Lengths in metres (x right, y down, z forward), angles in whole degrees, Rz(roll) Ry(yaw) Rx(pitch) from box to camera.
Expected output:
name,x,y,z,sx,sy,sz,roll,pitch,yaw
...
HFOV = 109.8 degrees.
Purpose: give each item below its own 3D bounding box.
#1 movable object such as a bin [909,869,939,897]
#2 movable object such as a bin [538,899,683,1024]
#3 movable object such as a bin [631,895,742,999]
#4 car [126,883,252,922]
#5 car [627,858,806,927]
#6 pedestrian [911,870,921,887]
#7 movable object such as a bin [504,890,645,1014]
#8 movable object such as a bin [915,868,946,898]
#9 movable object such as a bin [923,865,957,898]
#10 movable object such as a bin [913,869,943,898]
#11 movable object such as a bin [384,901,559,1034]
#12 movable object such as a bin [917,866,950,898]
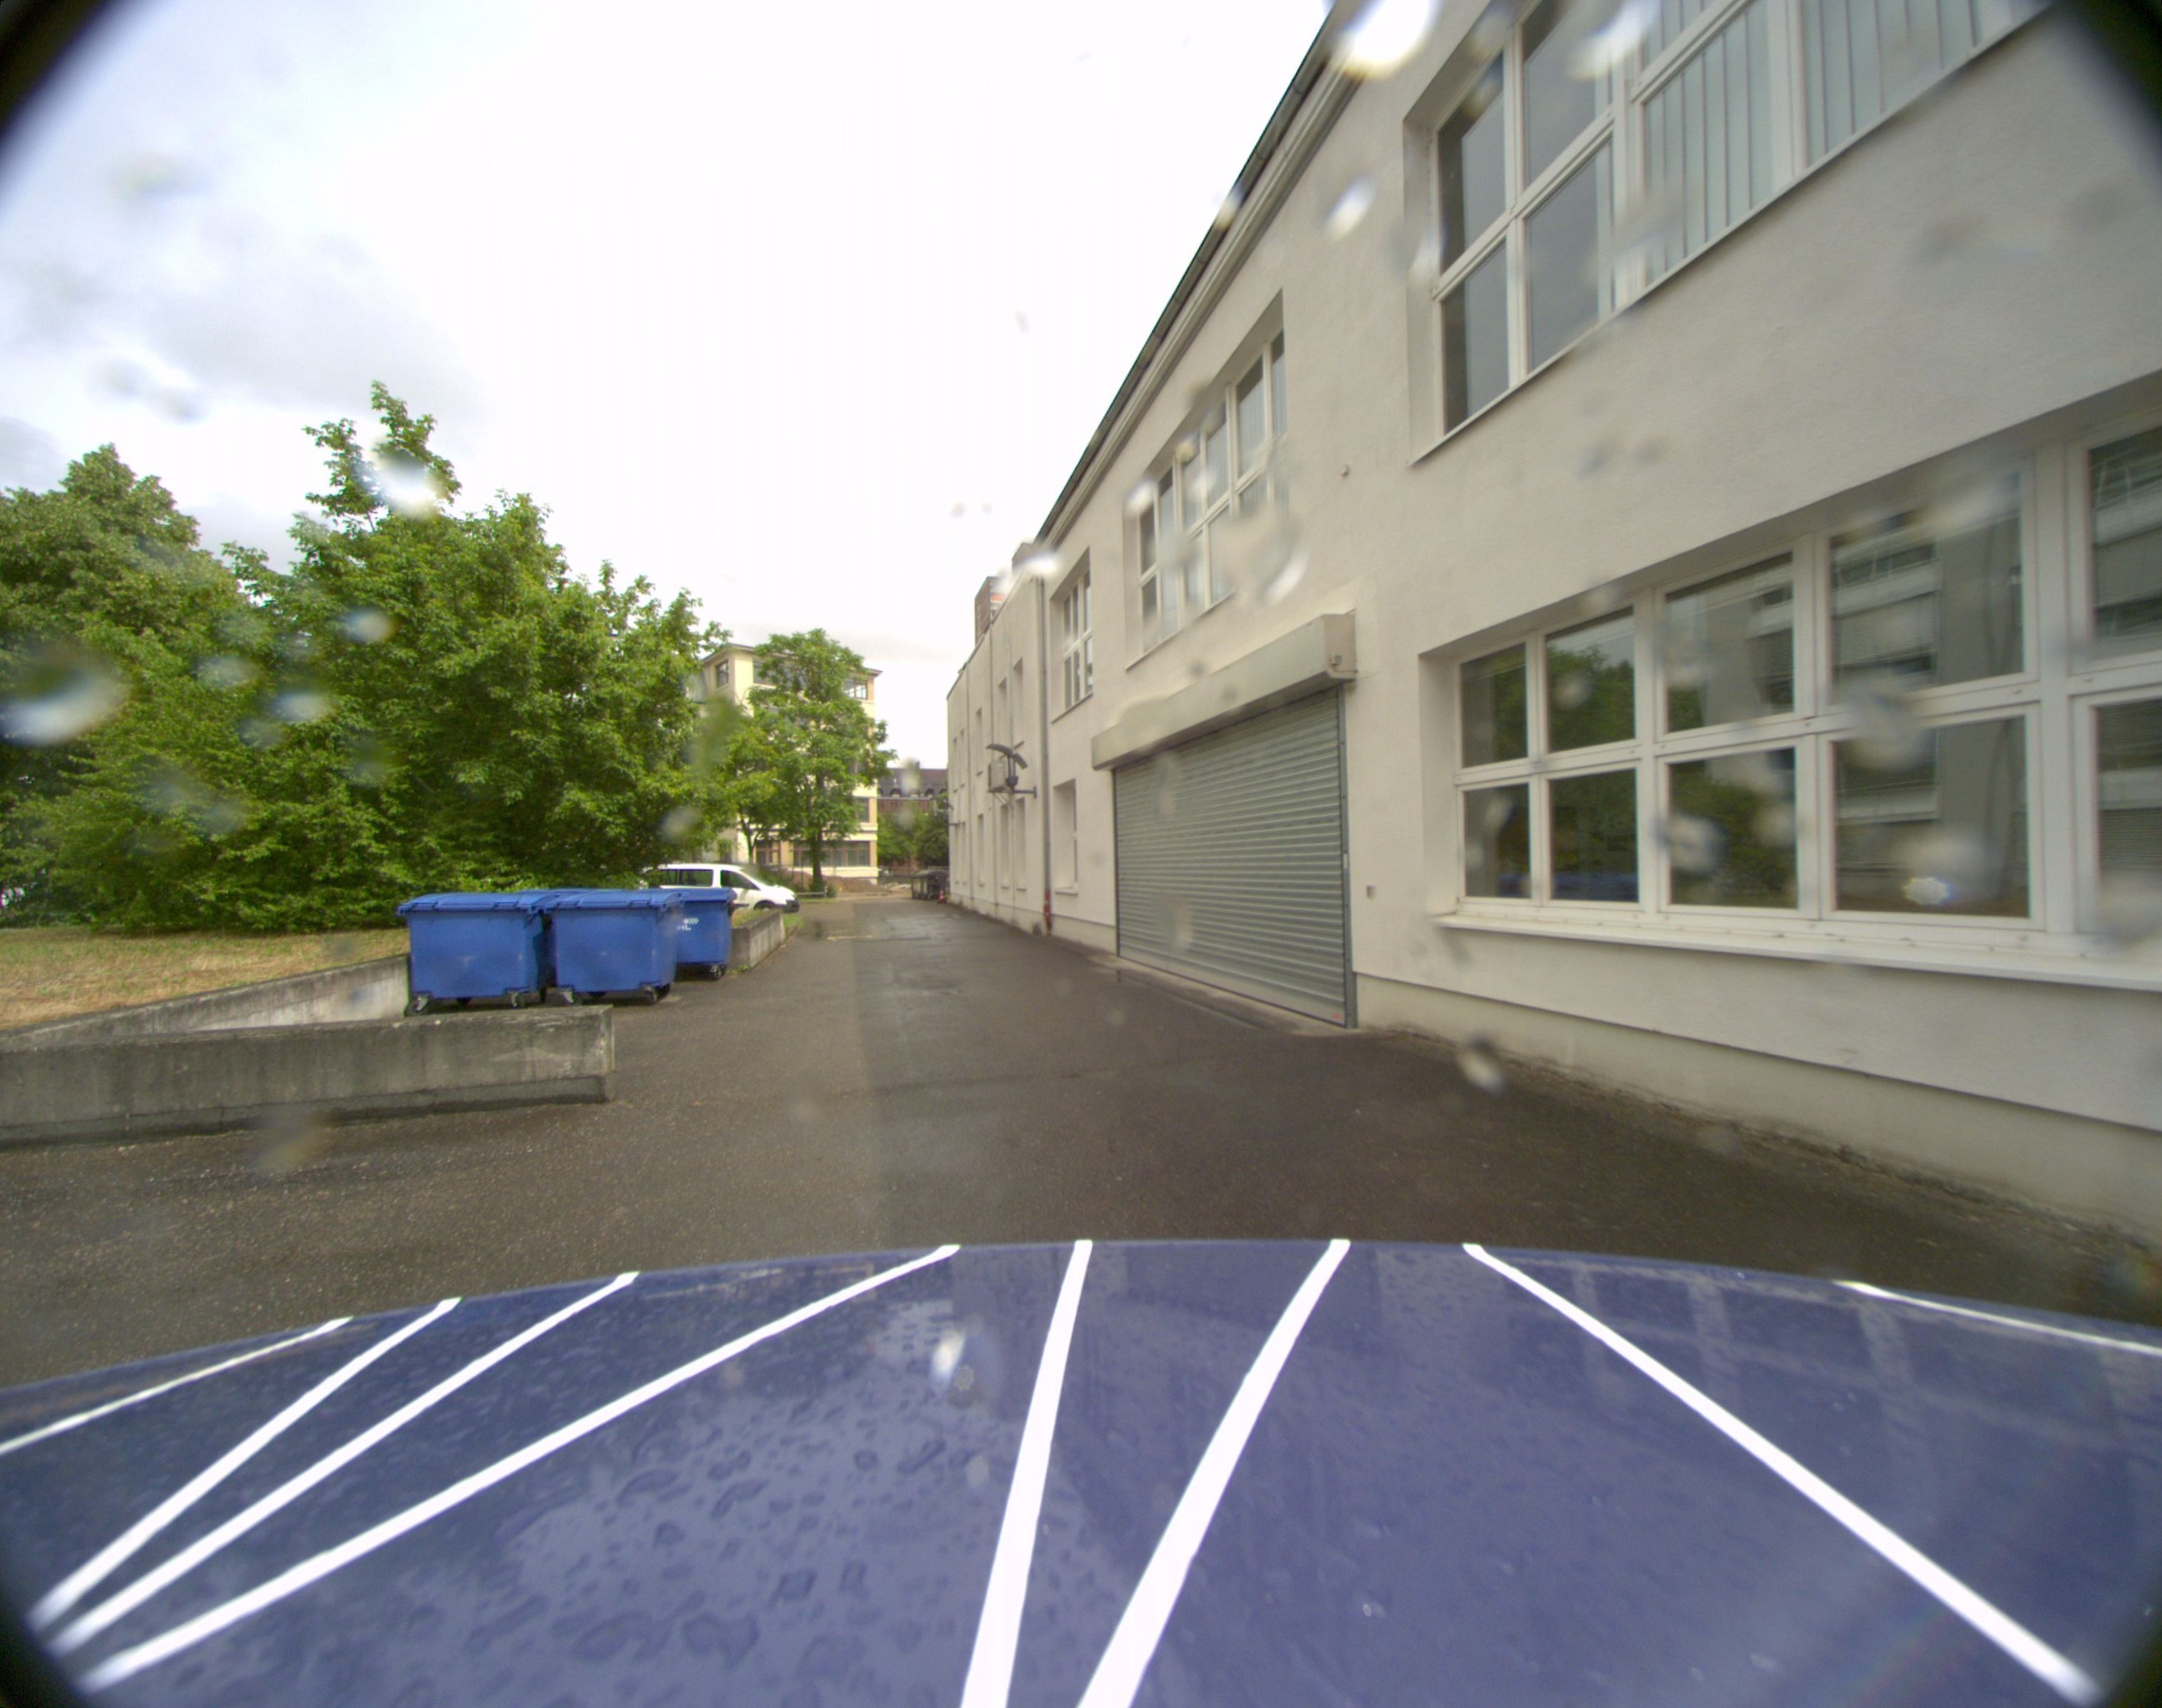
name,x,y,z,sx,sy,sz,roll,pitch,yaw
movable object such as a bin,-8.694,1.602,42.093,1.414,1.462,1.559,-3,-1,-18
movable object such as a bin,-5.498,1.217,8.988,1.234,1.309,1.054,-1,-1,-18
movable object such as a bin,-5.575,1.279,10.828,1.179,1.309,1.054,-3,-1,-18
car,-37.235,1.990,31.879,1.984,1.400,4.040,-2,-1,-27
car,-11.826,1.203,25.051,4.955,2.002,1.998,-2,0,-14
pedestrian,-15.390,2.292,70.762,0.623,1.499,0.650,-2,-1,32
movable object such as a bin,-6.806,1.272,10.305,1.280,1.474,1.100,-3,-1,-18
movable object such as a bin,-7.762,1.506,39.228,1.365,1.462,1.350,-3,-1,-18
movable object such as a bin,-6.765,1.299,36.303,1.365,1.462,1.364,-3,-1,-18
movable object such as a bin,-8.201,1.552,40.606,1.365,1.462,1.463,-3,-1,-18
movable object such as a bin,-6.788,1.217,8.562,1.234,1.309,1.054,-1,-1,-18
movable object such as a bin,-7.357,1.389,37.849,1.365,1.462,1.364,-3,-1,-18
